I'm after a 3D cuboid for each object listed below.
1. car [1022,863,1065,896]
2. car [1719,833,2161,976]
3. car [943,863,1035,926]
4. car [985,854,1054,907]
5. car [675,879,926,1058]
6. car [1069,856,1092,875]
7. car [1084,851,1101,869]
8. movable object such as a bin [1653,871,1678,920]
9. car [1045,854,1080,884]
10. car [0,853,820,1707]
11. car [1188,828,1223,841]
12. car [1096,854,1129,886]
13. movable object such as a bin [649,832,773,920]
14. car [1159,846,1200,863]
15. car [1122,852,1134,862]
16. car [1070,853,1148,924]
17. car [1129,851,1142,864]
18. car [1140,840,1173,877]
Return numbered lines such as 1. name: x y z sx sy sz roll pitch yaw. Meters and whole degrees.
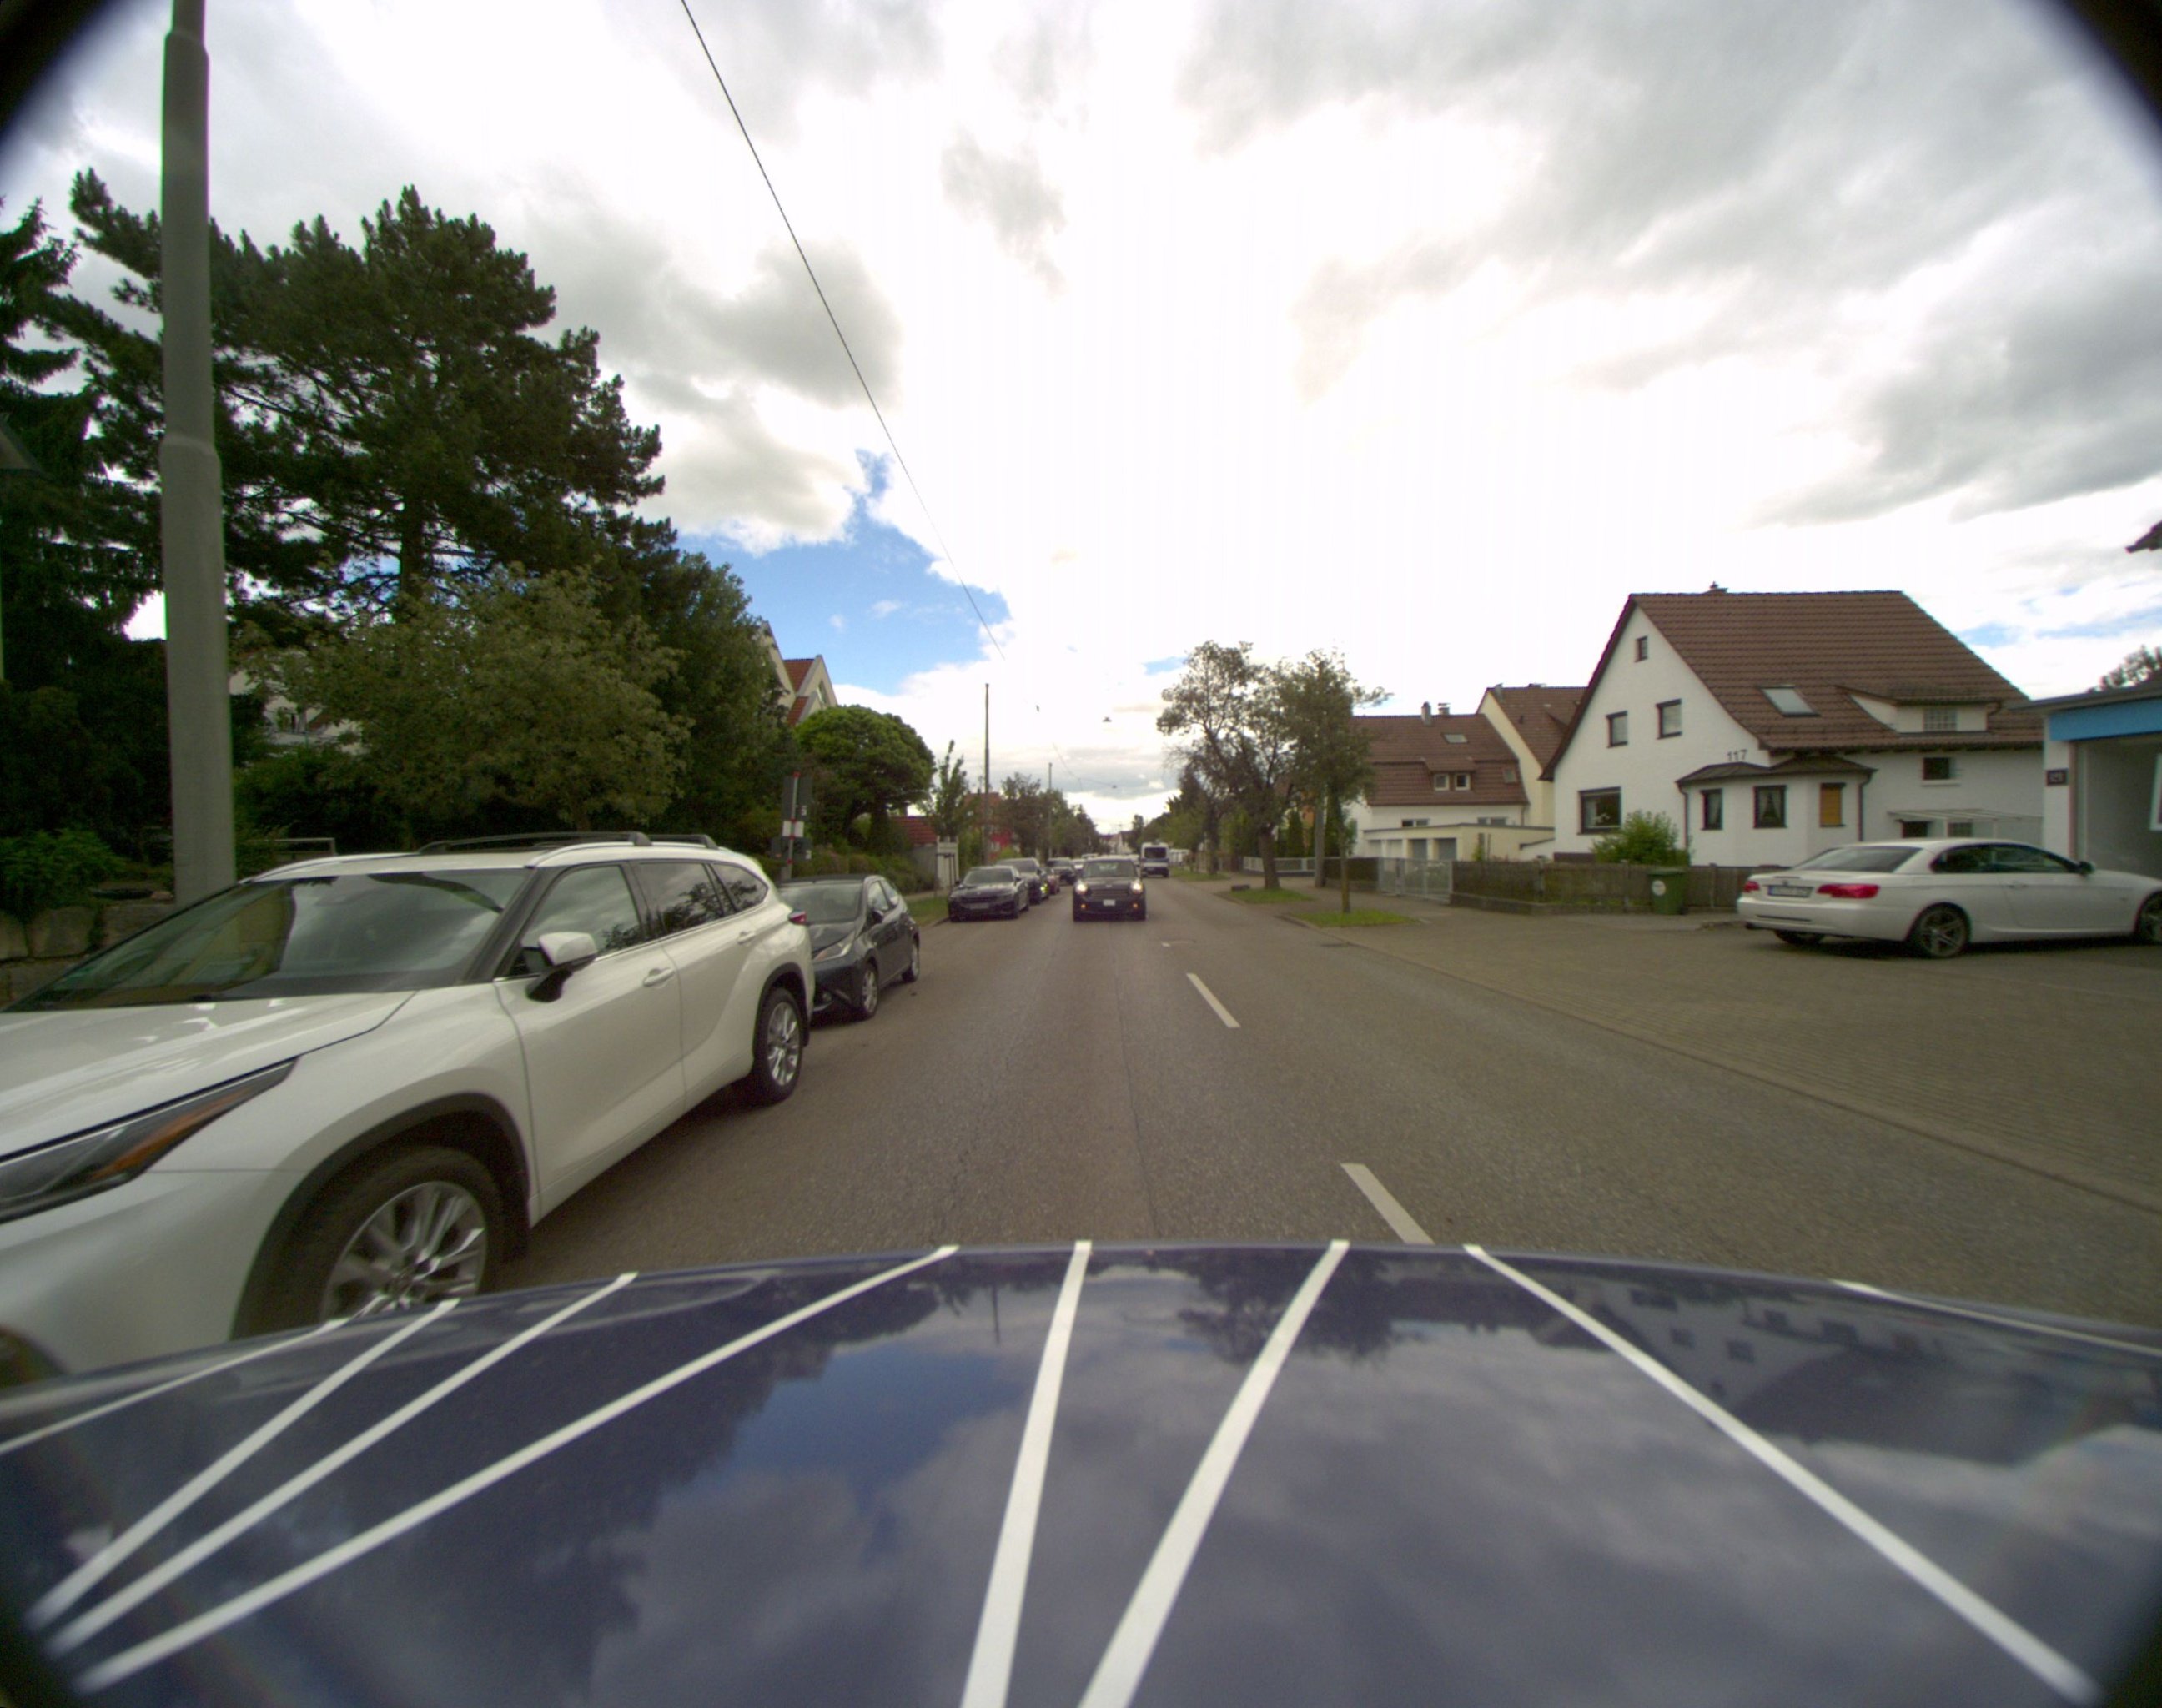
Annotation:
1. car: -1.638 1.116 34.100 1.484 1.229 3.885 -4 0 3
2. car: 10.955 0.555 9.626 4.290 1.360 1.815 -4 1 -4
3. car: -2.472 1.048 21.591 1.834 1.448 4.550 -3 0 2
4. car: -2.133 0.895 27.619 1.834 1.702 4.550 -1 0 3
5. car: -2.916 1.099 8.693 1.562 1.434 3.506 -3 0 -1
6. car: -0.003 0.939 64.945 1.697 1.445 4.405 -3 0 3
7. car: 1.360 0.672 87.426 1.779 1.932 4.789 -3 0 2
8. movable object such as a bin: 11.631 0.812 15.122 0.133 0.954 0.428 -2 1 -2
9. car: -1.075 0.866 45.362 1.692 1.600 4.109 -4 0 3
10. car: -2.904 0.930 3.439 1.804 1.768 4.704 -3 0 -1
11. car: 17.524 -2.744 107.325 4.644 1.611 2.000 -2 0 1
12. car: 1.667 0.803 39.627 1.590 1.598 3.685 -1 0 4
13. movable object such as a bin: -9.169 0.523 18.963 2.317 2.002 1.343 -3 1 -2
14. car: 14.687 0.040 113.186 5.609 2.549 2.133 1 1 21
15. car: 7.963 0.531 128.614 1.818 1.683 4.466 0 0 2
16. car: 0.785 0.802 19.341 1.743 1.573 3.685 -2 0 4
17. car: 7.716 0.457 107.599 1.799 1.741 4.299 -1 0 3
18. car: 5.565 0.319 56.839 2.078 2.567 5.300 1 0 2
